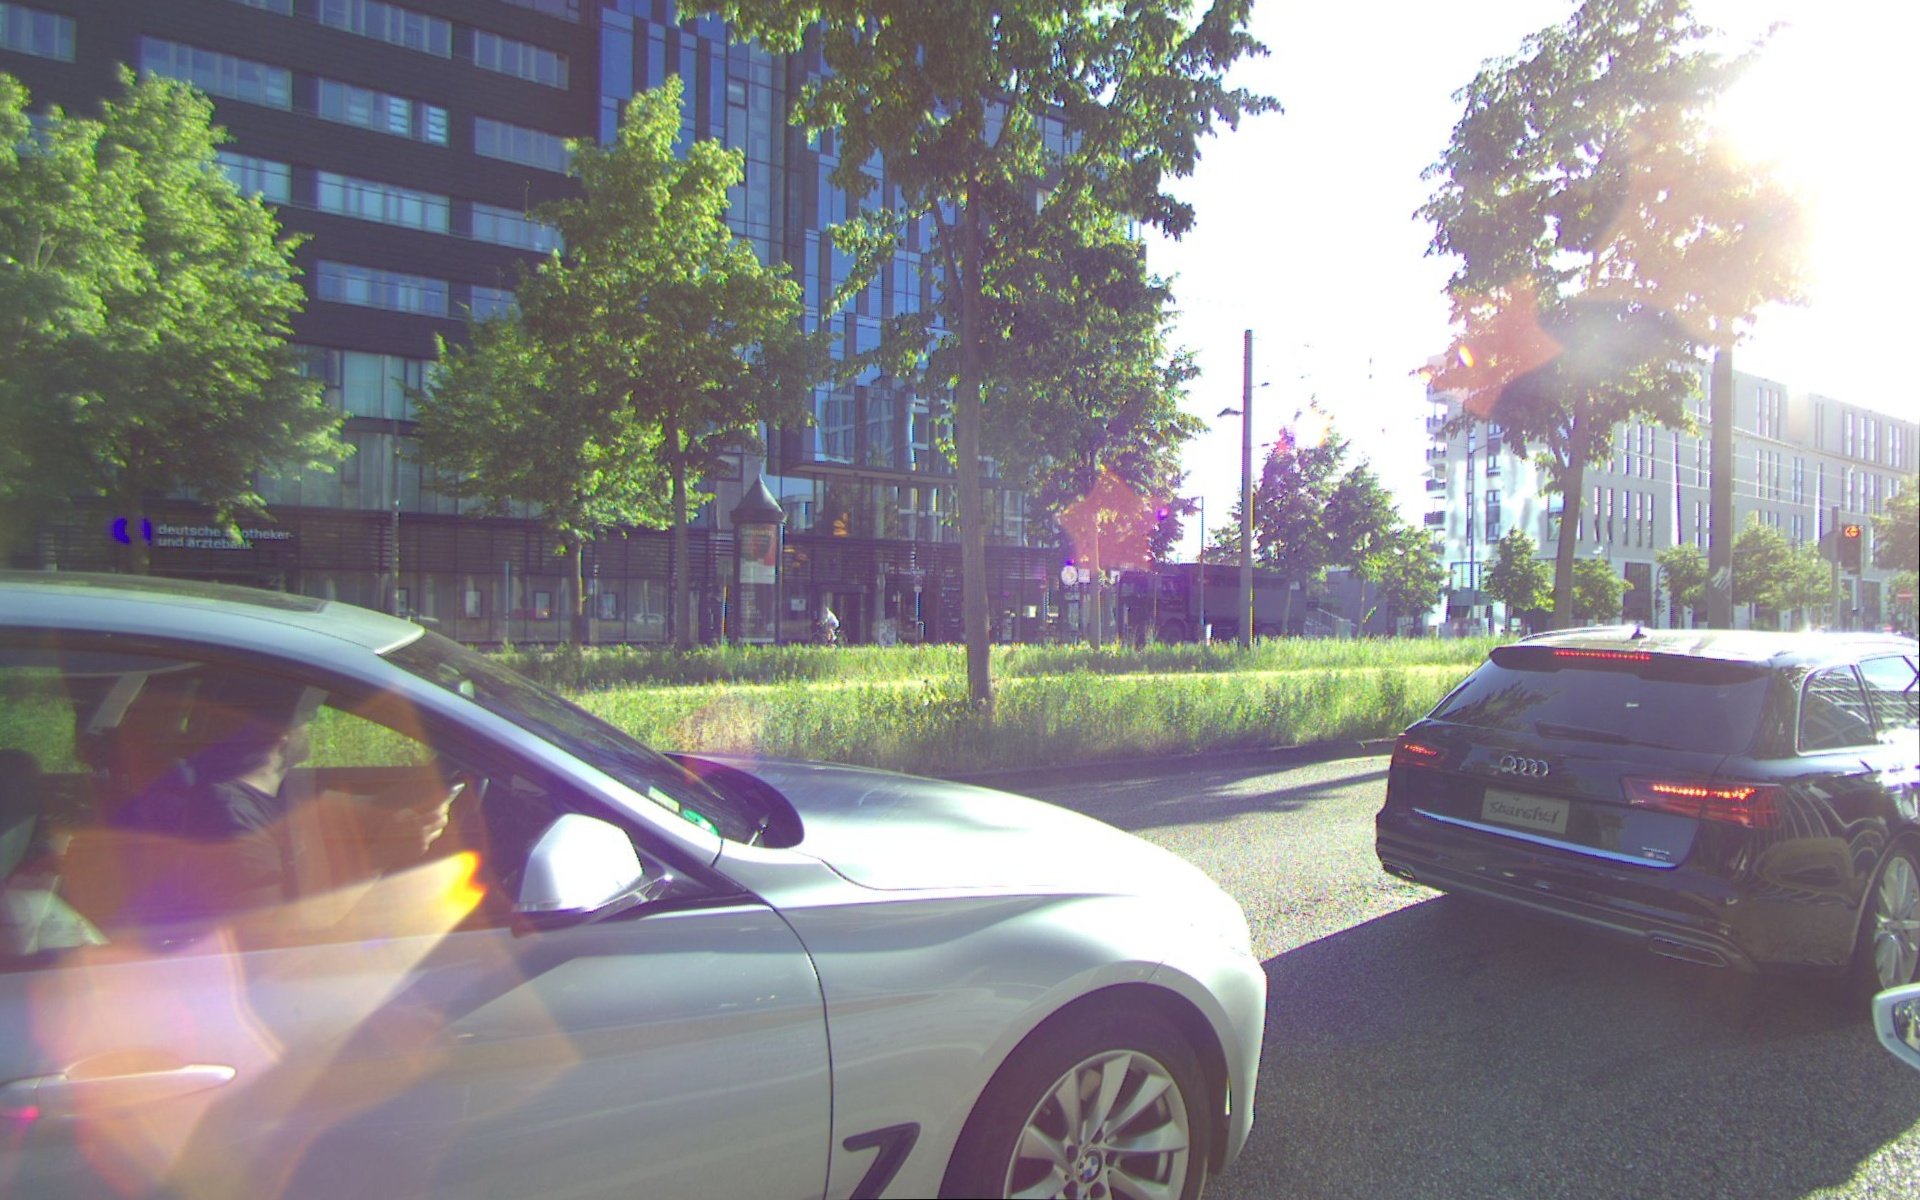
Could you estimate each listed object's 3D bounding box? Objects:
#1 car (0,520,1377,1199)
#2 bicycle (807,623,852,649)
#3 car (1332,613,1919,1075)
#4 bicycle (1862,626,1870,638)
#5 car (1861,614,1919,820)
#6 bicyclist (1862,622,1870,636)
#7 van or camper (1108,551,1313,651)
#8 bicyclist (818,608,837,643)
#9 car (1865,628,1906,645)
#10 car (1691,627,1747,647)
[{"bbox_3d":[-1.467,0.669,1.937,4.689,1.508,1.799,1,-1,-31],"label":"car"},{"bbox_3d":[-5.518,1.531,42.429,1.826,1.047,0.525,2,0,-30],"label":"bicycle"},{"bbox_3d":[4.149,0.841,5.165,4.455,1.476,1.799,1,-1,-31],"label":"car"},{"bbox_3d":[88.267,3.097,97.839,0.522,1.126,1.628,1,0,43],"label":"bicycle"},{"bbox_3d":[9.274,0.921,8.141,4.065,1.548,1.799,1,-1,-30],"label":"car"},{"bbox_3d":[88.273,2.858,97.840,0.572,1.310,0.701,2,0,43],"label":"bicyclist"},{"bbox_3d":[11.709,0.178,46.350,10.109,4.248,2.740,2,-1,-30],"label":"van or camper"},{"bbox_3d":[-5.604,1.081,42.359,0.619,1.425,0.490,2,0,-30],"label":"bicyclist"},{"bbox_3d":[79.043,3.132,85.767,3.669,1.360,1.572,2,-1,-31],"label":"car"},{"bbox_3d":[52.200,2.541,69.066,4.420,1.360,1.572,2,-1,-31],"label":"car"}]
